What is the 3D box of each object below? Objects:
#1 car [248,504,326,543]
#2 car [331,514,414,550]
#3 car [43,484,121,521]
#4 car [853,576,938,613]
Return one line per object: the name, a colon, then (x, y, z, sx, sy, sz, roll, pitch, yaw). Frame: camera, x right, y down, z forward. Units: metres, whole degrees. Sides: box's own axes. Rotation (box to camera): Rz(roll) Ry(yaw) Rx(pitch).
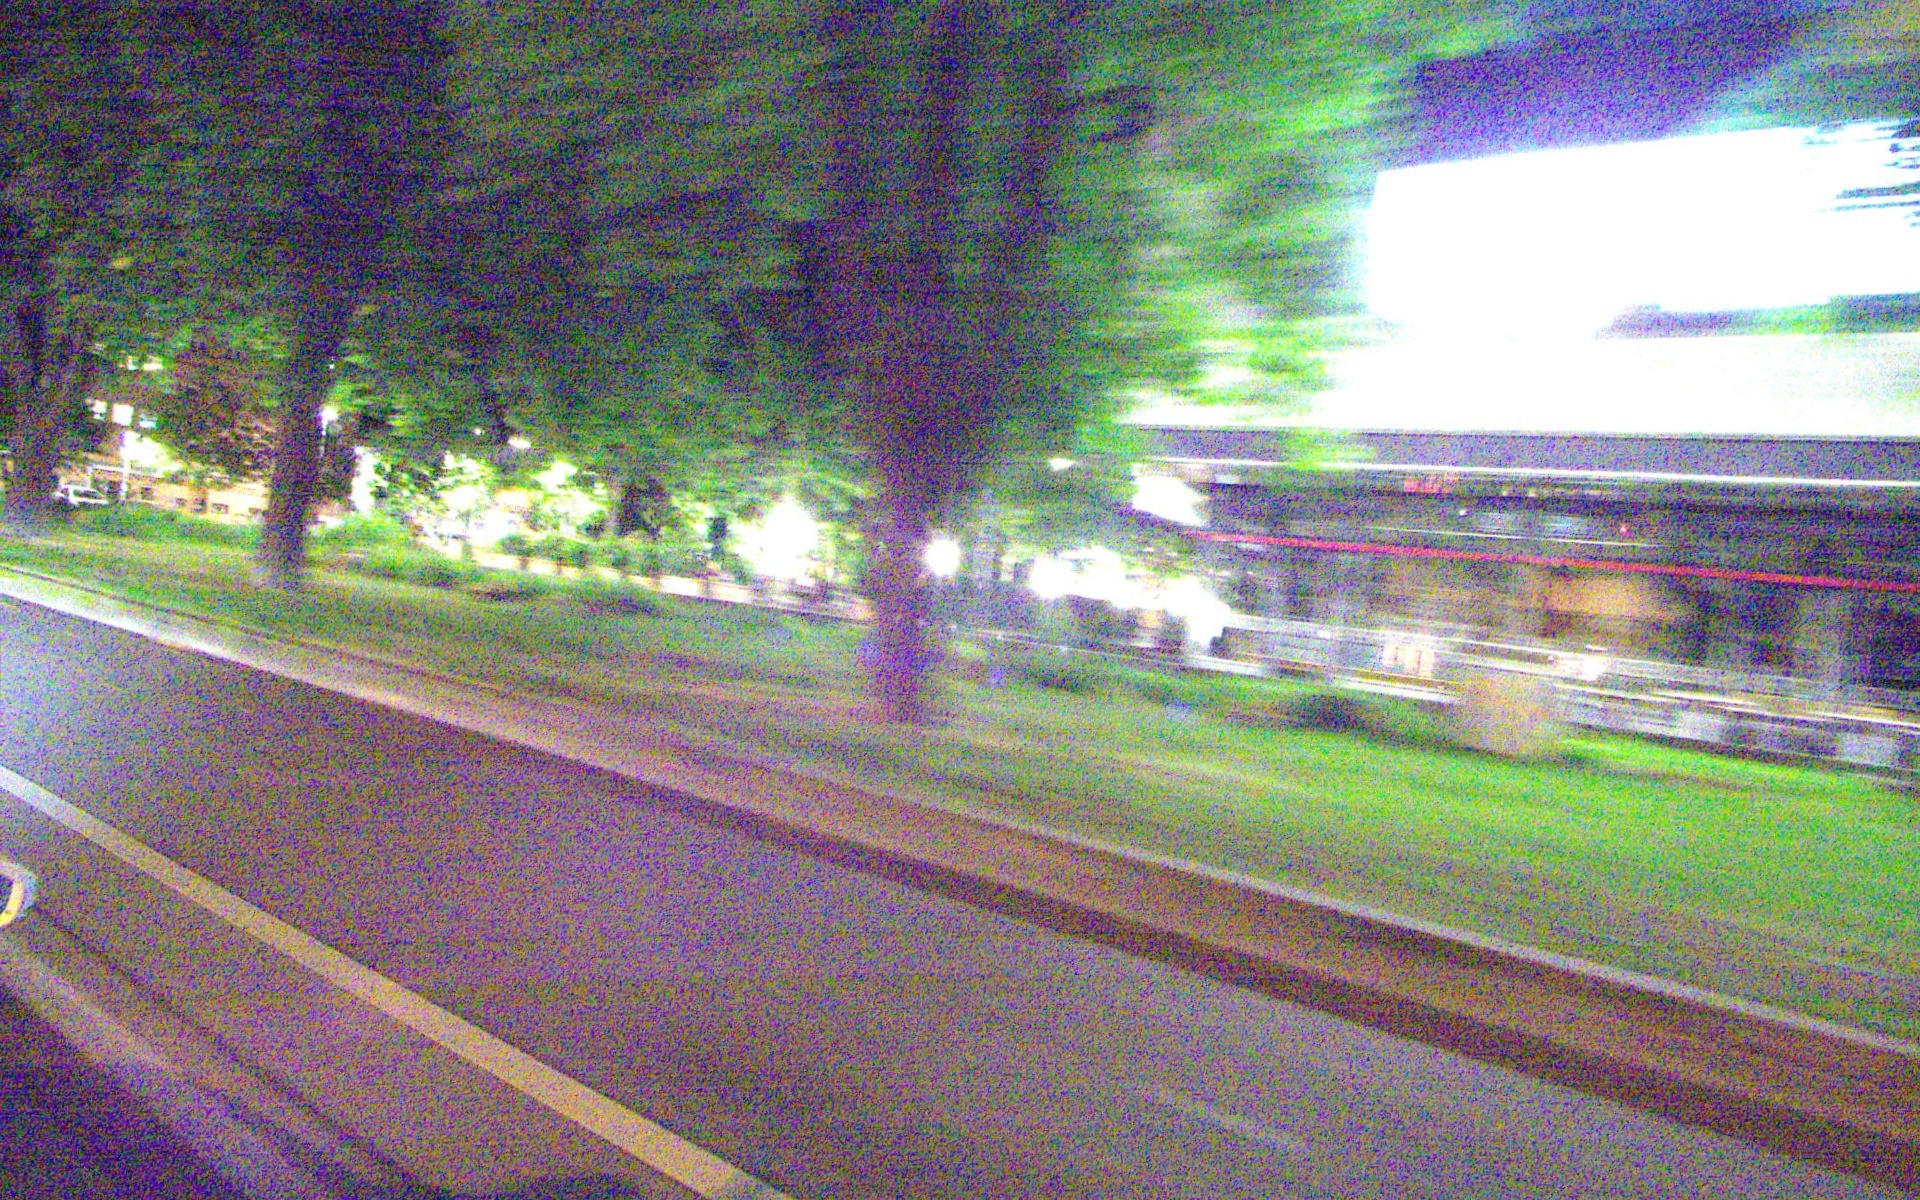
car: (-35.203, -4.008, 52.591, 4.030, 1.553, 1.770, 7, 1, 31)
car: (-33.328, -3.865, 57.062, 4.809, 1.532, 1.891, 7, 1, 30)
car: (-48.115, -5.334, 55.119, 3.930, 1.553, 1.785, 7, 1, 27)
car: (-3.577, -0.312, 55.575, 4.229, 1.527, 1.995, 7, 2, 31)
